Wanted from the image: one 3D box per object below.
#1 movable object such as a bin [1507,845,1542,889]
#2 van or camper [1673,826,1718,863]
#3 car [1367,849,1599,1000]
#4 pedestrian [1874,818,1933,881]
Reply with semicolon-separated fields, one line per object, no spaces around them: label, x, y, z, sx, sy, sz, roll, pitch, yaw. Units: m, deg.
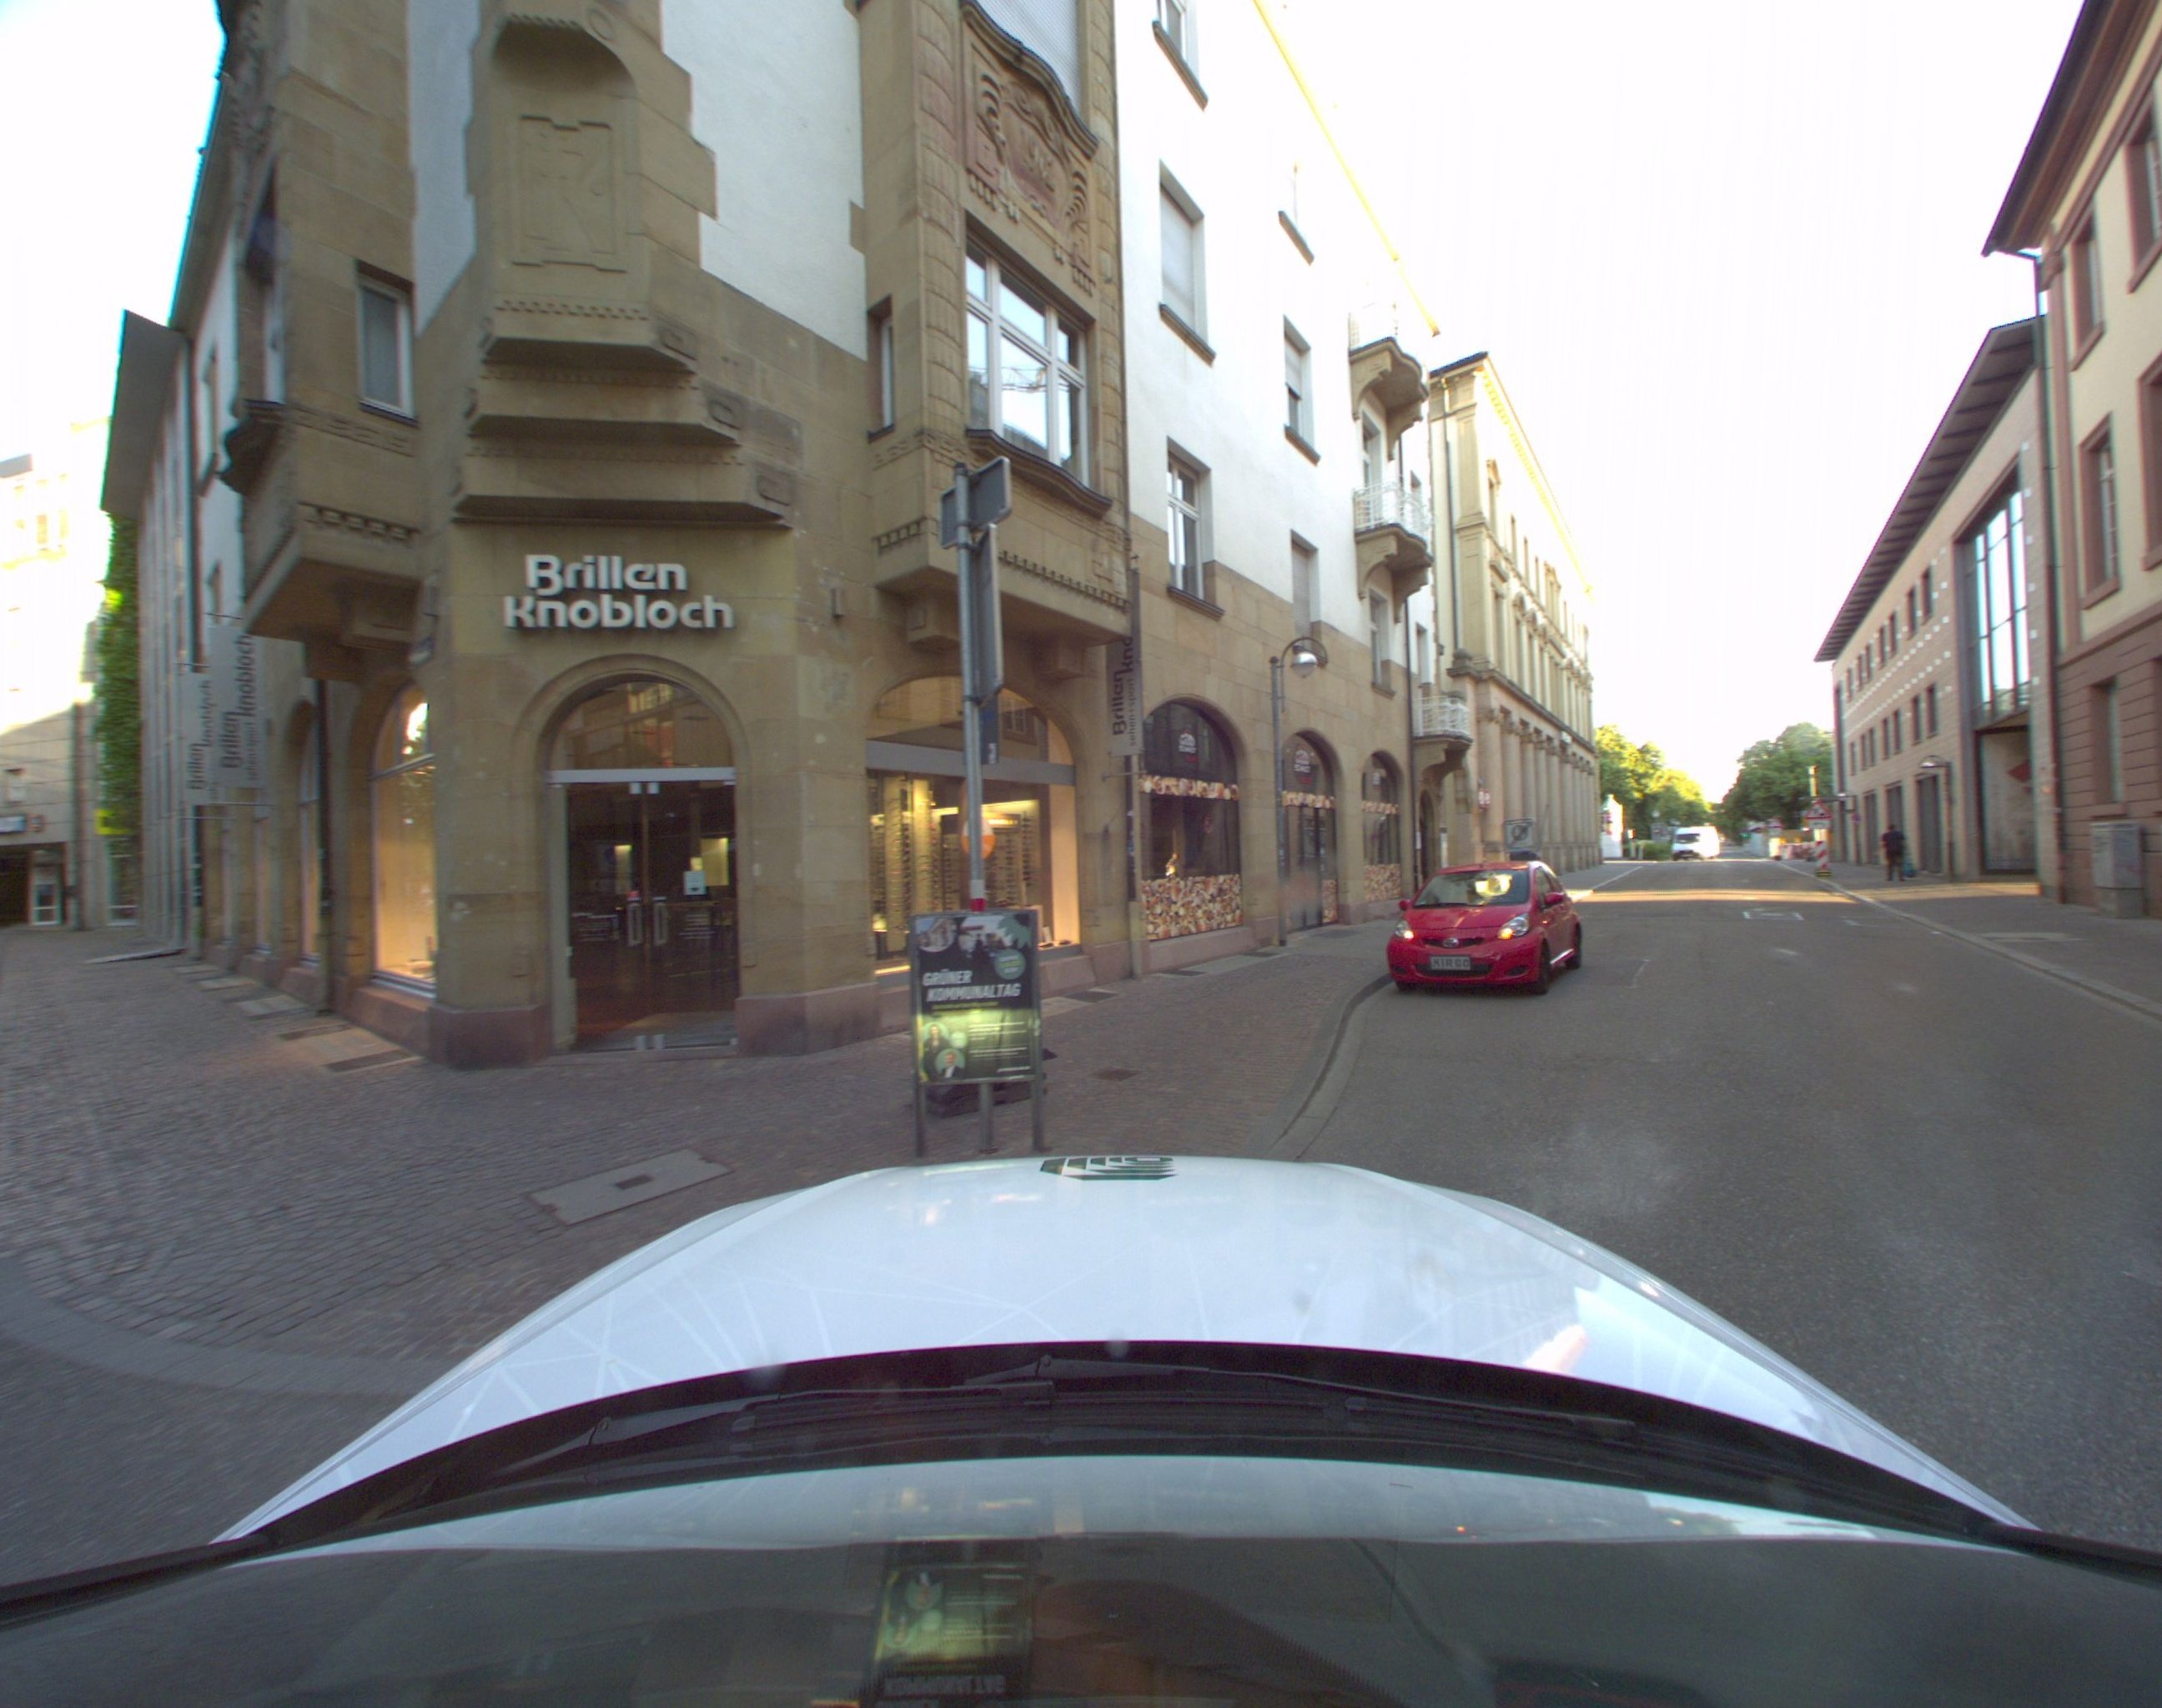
movable object such as a bin;15.519;0.447;28.486;0.821;1.503;1.299;-2;0;39
van or camper;45.838;-0.725;60.669;2.198;2.585;6.412;-2;0;41
car;5.167;0.756;10.182;1.641;1.470;3.957;-6;-3;39
pedestrian;25.424;-0.125;25.194;0.991;1.803;0.887;-8;-5;38
